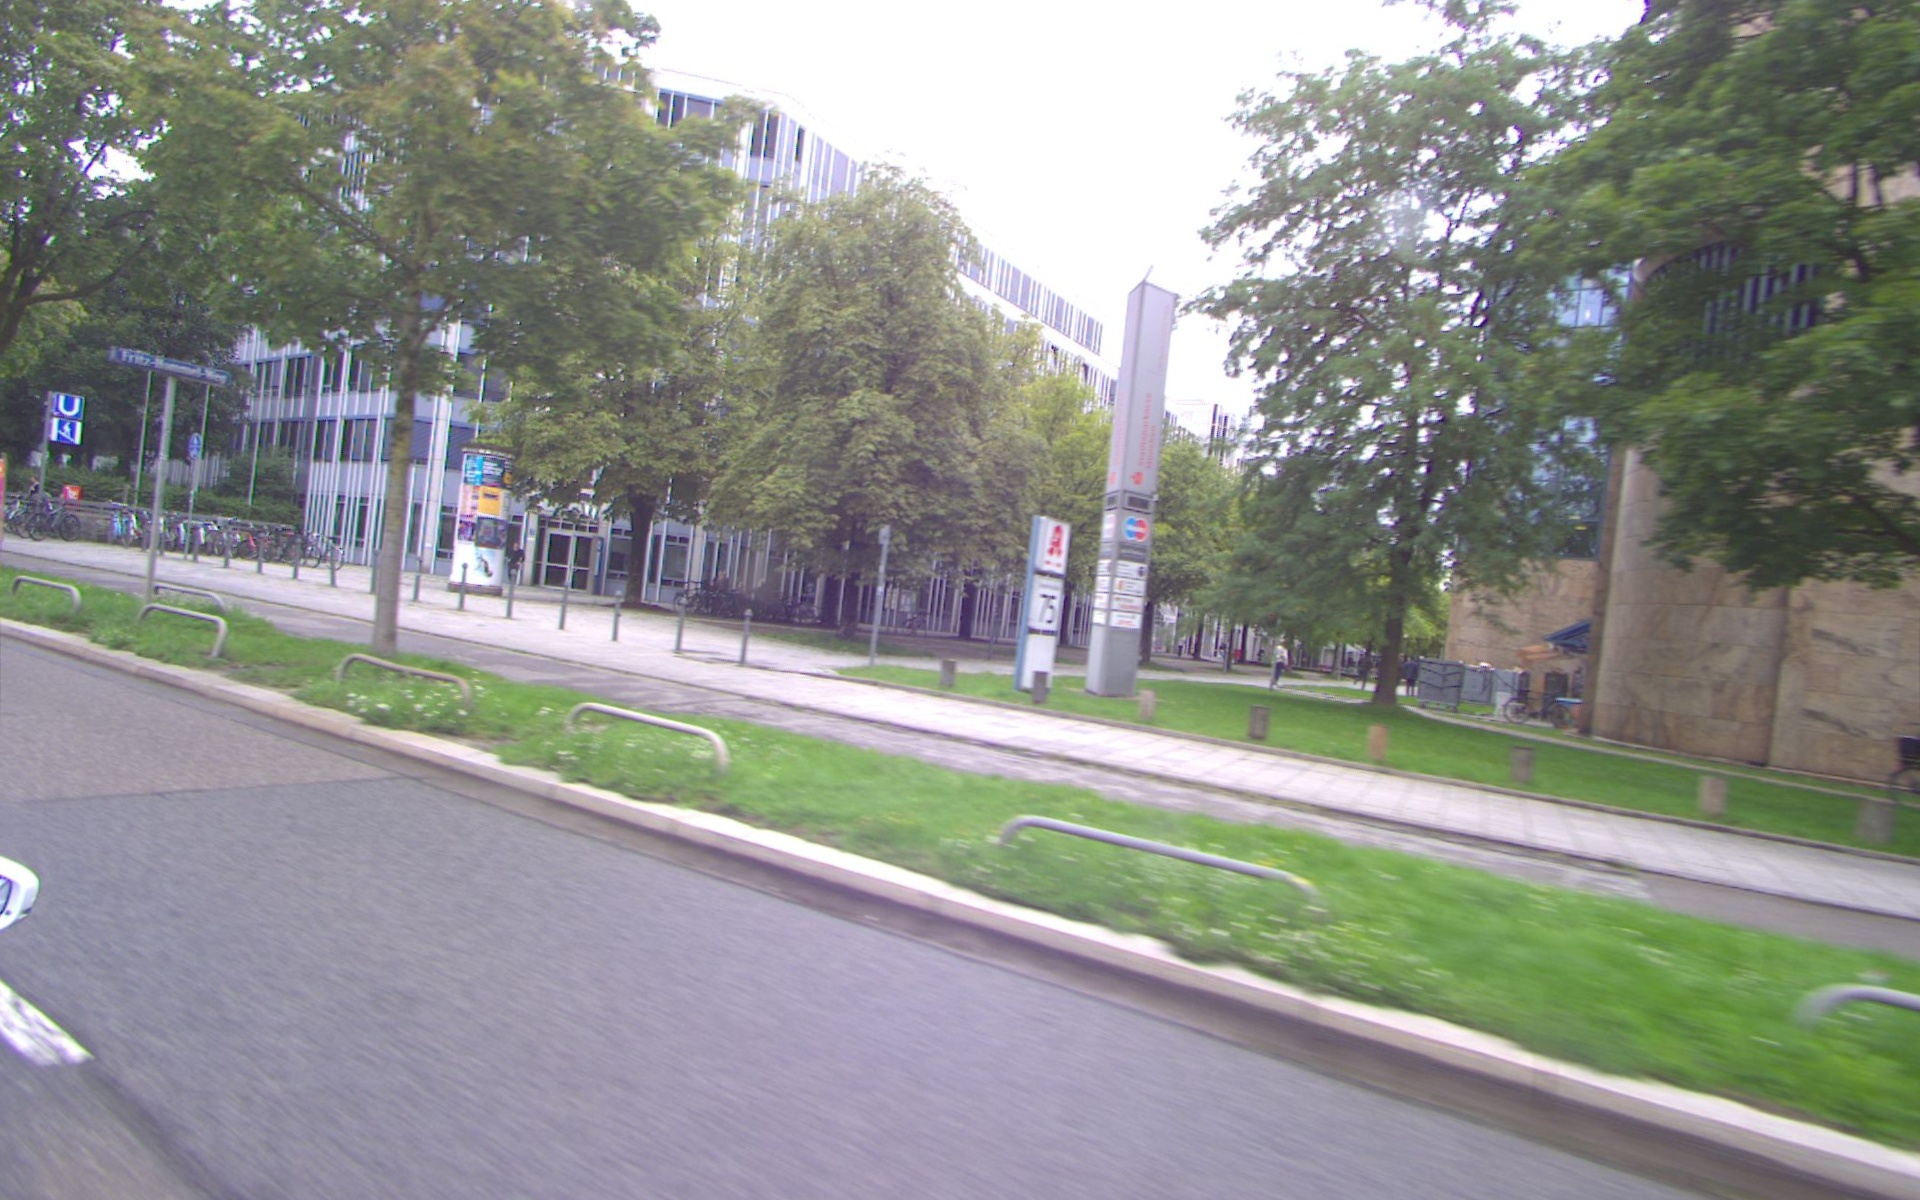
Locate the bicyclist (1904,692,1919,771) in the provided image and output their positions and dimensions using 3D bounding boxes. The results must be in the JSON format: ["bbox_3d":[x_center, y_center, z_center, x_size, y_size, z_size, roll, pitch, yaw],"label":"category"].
[{"bbox_3d":[14.617,1.994,14.661,0.717,1.144,0.954,6,1,-24],"label":"bicyclist"}]

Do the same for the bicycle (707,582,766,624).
[{"bbox_3d":[-8.212,0.106,36.888,2.136,1.276,0.509,7,1,26],"label":"bicycle"}]

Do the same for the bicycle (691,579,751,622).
[{"bbox_3d":[-8.614,0.020,36.176,2.136,1.276,0.509,7,1,26],"label":"bicycle"}]

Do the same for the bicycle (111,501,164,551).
[{"bbox_3d":[-22.765,-2.050,27.835,1.922,1.204,0.488,7,1,33],"label":"bicycle"}]

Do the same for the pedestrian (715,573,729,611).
[{"bbox_3d":[-9.810,-0.337,41.515,0.342,1.510,0.346,7,1,2],"label":"pedestrian"}]

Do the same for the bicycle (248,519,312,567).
[{"bbox_3d":[-20.436,-1.726,30.231,2.103,1.204,0.512,7,1,26],"label":"bicycle"}]

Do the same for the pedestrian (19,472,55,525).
[{"bbox_3d":[-32.042,-3.521,34.929,0.780,1.736,0.741,6,1,-44],"label":"pedestrian"}]

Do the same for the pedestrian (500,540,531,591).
[{"bbox_3d":[-16.533,-1.286,37.424,0.684,1.795,0.760,6,1,-44],"label":"pedestrian"}]

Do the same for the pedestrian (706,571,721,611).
[{"bbox_3d":[-10.183,-0.377,41.611,0.307,1.592,0.349,6,1,-41],"label":"pedestrian"}]

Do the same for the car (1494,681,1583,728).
[{"bbox_3d":[16.065,2.894,27.980,2.043,1.026,0.677,5,0,31],"label":"car"}]

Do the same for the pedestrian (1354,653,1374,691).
[{"bbox_3d":[18.313,3.255,45.612,0.507,1.652,0.504,8,2,40],"label":"pedestrian"}]

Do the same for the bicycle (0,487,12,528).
[{"bbox_3d":[-29.302,-2.791,29.747,0.586,1.205,1.952,7,3,2],"label":"bicycle"}]

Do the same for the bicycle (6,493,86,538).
[{"bbox_3d":[-25.467,-2.341,28.083,0.594,1.104,2.036,4,2,-8],"label":"bicycle"}]

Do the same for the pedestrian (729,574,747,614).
[{"bbox_3d":[-8.991,-0.240,40.734,0.401,1.592,0.347,7,1,35],"label":"pedestrian"}]

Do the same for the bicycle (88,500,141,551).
[{"bbox_3d":[-23.034,-2.042,27.388,1.922,1.204,0.488,7,1,33],"label":"bicycle"}]

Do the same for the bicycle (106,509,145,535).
[{"bbox_3d":[-34.682,-3.234,41.804,1.804,0.864,0.683,8,1,32],"label":"bicycle"}]

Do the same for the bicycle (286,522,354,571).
[{"bbox_3d":[-20.202,-1.694,31.743,2.434,1.310,0.509,7,1,26],"label":"bicycle"}]

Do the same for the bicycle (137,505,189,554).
[{"bbox_3d":[-22.449,-1.999,28.321,1.922,1.204,0.488,7,1,33],"label":"bicycle"}]

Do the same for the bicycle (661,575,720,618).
[{"bbox_3d":[-9.448,-0.124,35.244,2.020,1.276,0.607,7,1,28],"label":"bicycle"}]

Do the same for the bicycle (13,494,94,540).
[{"bbox_3d":[-24.307,-2.197,27.028,0.570,1.114,2.027,4,2,-9],"label":"bicycle"}]

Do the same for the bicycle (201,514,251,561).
[{"bbox_3d":[-21.480,-1.827,29.426,1.922,1.204,0.446,7,1,33],"label":"bicycle"}]

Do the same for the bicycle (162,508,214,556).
[{"bbox_3d":[-22.168,-1.964,28.861,1.922,1.204,0.488,7,1,33],"label":"bicycle"}]

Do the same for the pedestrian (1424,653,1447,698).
[{"bbox_3d":[18.977,3.014,40.168,0.584,1.699,0.561,7,1,34],"label":"pedestrian"}]

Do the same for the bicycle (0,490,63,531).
[{"bbox_3d":[-27.361,-2.611,29.478,0.587,1.098,1.949,7,2,-8],"label":"bicycle"}]

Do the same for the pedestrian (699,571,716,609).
[{"bbox_3d":[-10.575,-0.415,42.111,0.389,1.510,0.383,8,1,43],"label":"pedestrian"}]

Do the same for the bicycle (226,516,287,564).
[{"bbox_3d":[-20.891,-1.799,29.859,2.103,1.204,0.446,7,1,26],"label":"bicycle"}]

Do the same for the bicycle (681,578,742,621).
[{"bbox_3d":[-8.819,-0.032,35.632,2.136,1.276,0.509,7,1,26],"label":"bicycle"}]

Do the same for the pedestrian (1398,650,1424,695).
[{"bbox_3d":[18.107,2.910,40.408,0.498,1.699,0.588,6,1,-34],"label":"pedestrian"}]

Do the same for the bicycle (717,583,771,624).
[{"bbox_3d":[-8.059,0.117,37.496,1.986,1.276,0.509,7,1,26],"label":"bicycle"}]

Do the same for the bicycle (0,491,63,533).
[{"bbox_3d":[-26.381,-2.469,28.393,0.570,1.080,1.949,5,3,-8],"label":"bicycle"}]

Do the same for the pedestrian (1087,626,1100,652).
[{"bbox_3d":[8.962,2.642,67.499,0.477,1.679,0.482,7,1,33],"label":"pedestrian"}]

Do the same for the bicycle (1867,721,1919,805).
[{"bbox_3d":[14.564,2.494,14.670,0.717,1.144,1.756,6,1,-24],"label":"bicycle"}]

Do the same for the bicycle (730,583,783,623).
[{"bbox_3d":[-7.725,0.118,38.136,1.920,1.276,0.509,7,1,26],"label":"bicycle"}]

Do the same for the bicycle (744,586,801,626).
[{"bbox_3d":[-7.182,0.224,38.520,2.136,1.276,0.553,7,1,26],"label":"bicycle"}]

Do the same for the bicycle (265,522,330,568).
[{"bbox_3d":[-20.421,-1.702,30.991,2.103,1.204,0.578,7,1,26],"label":"bicycle"}]

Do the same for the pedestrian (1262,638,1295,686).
[{"bbox_3d":[12.047,2.341,38.051,0.852,1.699,0.587,7,1,35],"label":"pedestrian"}]

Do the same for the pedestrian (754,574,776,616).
[{"bbox_3d":[-8.259,-0.219,42.533,0.586,1.679,0.620,6,1,-31],"label":"pedestrian"}]

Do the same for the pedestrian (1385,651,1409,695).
[{"bbox_3d":[17.937,2.995,41.309,0.494,1.699,0.593,7,1,-3],"label":"pedestrian"}]

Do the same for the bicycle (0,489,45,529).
[{"bbox_3d":[-28.379,-2.715,30.011,0.570,1.124,1.948,7,4,-8],"label":"bicycle"}]
